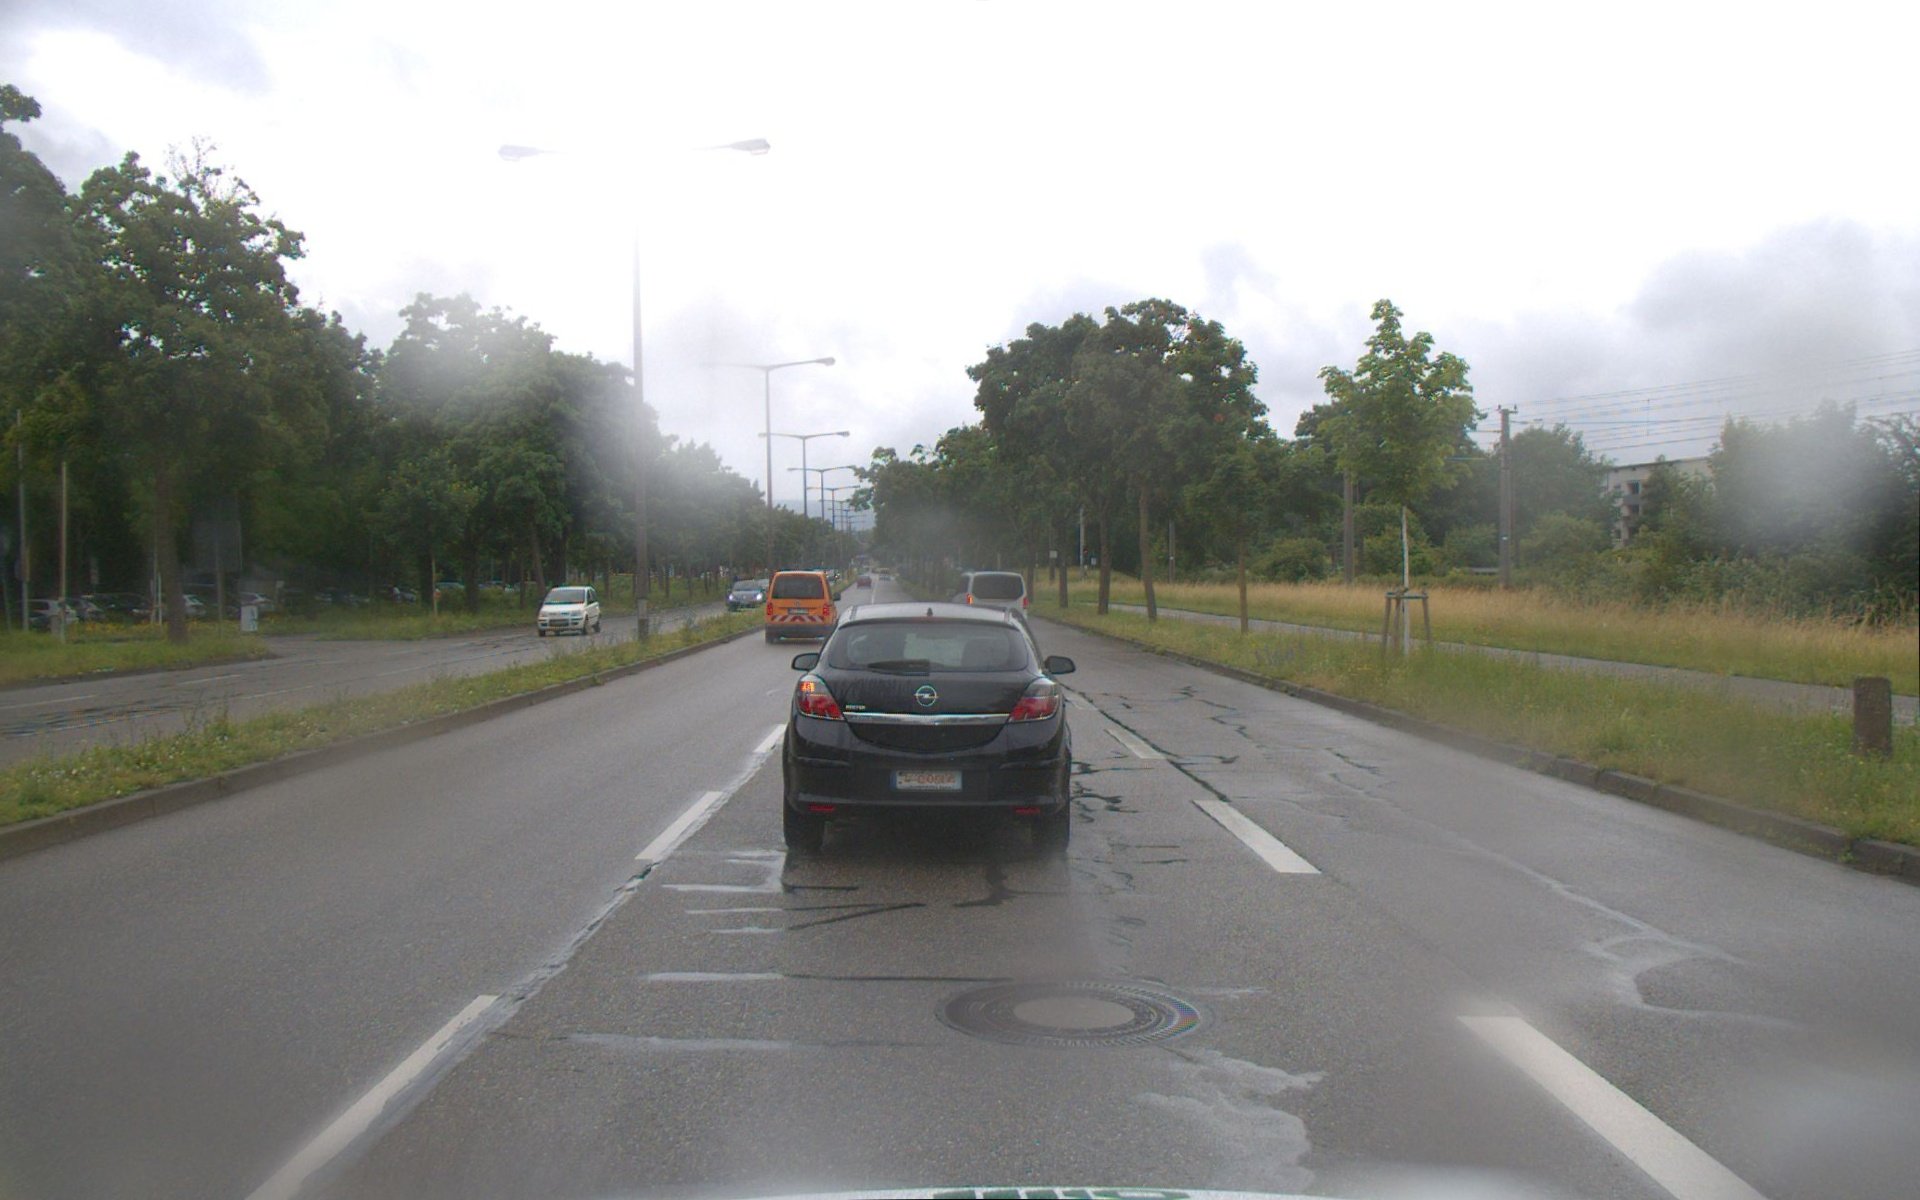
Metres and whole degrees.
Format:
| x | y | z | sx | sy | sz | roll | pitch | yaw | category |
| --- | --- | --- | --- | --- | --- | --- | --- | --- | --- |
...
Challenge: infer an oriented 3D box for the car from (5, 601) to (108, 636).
| x | y | z | sx | sy | sz | roll | pitch | yaw | category |
| --- | --- | --- | --- | --- | --- | --- | --- | --- | --- |
| -40.905 | 0.846 | 74.945 | 3.762 | 1.477 | 1.523 | -1 | 1 | -7 | car |

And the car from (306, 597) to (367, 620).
| x | y | z | sx | sy | sz | roll | pitch | yaw | category |
| --- | --- | --- | --- | --- | --- | --- | --- | --- | --- |
| -43.294 | 0.567 | 114.906 | 3.774 | 1.477 | 1.518 | -1 | 1 | -17 | car |

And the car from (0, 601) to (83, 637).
| x | y | z | sx | sy | sz | roll | pitch | yaw | category |
| --- | --- | --- | --- | --- | --- | --- | --- | --- | --- |
| -40.626 | 0.826 | 72.276 | 3.762 | 1.477 | 1.523 | -1 | 1 | -7 | car |

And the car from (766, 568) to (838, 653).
| x | y | z | sx | sy | sz | roll | pitch | yaw | category |
| --- | --- | --- | --- | --- | --- | --- | --- | --- | --- |
| -4.093 | 0.251 | 43.439 | 1.700 | 2.054 | 4.845 | 2 | 0 | -4 | car |

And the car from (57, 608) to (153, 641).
| x | y | z | sx | sy | sz | roll | pitch | yaw | category |
| --- | --- | --- | --- | --- | --- | --- | --- | --- | --- |
| -41.235 | 1.166 | 79.829 | 3.762 | 1.477 | 1.523 | -1 | 1 | -7 | car |

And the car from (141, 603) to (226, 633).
| x | y | z | sx | sy | sz | roll | pitch | yaw | category |
| --- | --- | --- | --- | --- | --- | --- | --- | --- | --- |
| -41.184 | 0.963 | 87.765 | 3.762 | 1.477 | 1.523 | -1 | 1 | -7 | car |

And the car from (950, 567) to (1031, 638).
| x | y | z | sx | sy | sz | roll | pitch | yaw | category |
| --- | --- | --- | --- | --- | --- | --- | --- | --- | --- |
| 0.860 | 0.074 | 49.510 | 2.018 | 2.009 | 4.604 | 0 | 0 | -4 | car |

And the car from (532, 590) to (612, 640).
| x | y | z | sx | sy | sz | roll | pitch | yaw | category |
| --- | --- | --- | --- | --- | --- | --- | --- | --- | --- |
| -12.848 | 0.486 | 54.970 | 1.648 | 1.581 | 4.000 | 1 | 0 | 0 | car |

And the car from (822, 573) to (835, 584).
| x | y | z | sx | sy | sz | roll | pitch | yaw | category |
| --- | --- | --- | --- | --- | --- | --- | --- | --- | --- |
| -19.373 | -3.209 | 244.388 | 1.685 | 1.556 | 3.808 | -1 | 0 | -1 | car |

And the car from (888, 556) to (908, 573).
| x | y | z | sx | sy | sz | roll | pitch | yaw | category |
| --- | --- | --- | --- | --- | --- | --- | --- | --- | --- |
| -8.357 | -4.807 | 223.150 | 2.465 | 2.088 | 5.291 | 2 | 1 | -2 | car |

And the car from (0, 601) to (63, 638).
| x | y | z | sx | sy | sz | roll | pitch | yaw | category |
| --- | --- | --- | --- | --- | --- | --- | --- | --- | --- |
| -40.235 | 0.840 | 69.848 | 3.762 | 1.477 | 1.523 | -1 | 1 | -7 | car |

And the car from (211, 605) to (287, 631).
| x | y | z | sx | sy | sz | roll | pitch | yaw | category |
| --- | --- | --- | --- | --- | --- | --- | --- | --- | --- |
| -41.910 | 1.058 | 97.539 | 3.762 | 1.477 | 1.523 | -1 | 1 | -7 | car |

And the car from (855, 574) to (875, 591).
| x | y | z | sx | sy | sz | roll | pitch | yaw | category |
| --- | --- | --- | --- | --- | --- | --- | --- | --- | --- |
| -11.017 | -1.989 | 192.170 | 1.952 | 1.912 | 4.001 | 0 | 0 | 1 | car |

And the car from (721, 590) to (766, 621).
| x | y | z | sx | sy | sz | roll | pitch | yaw | category |
| --- | --- | --- | --- | --- | --- | --- | --- | --- | --- |
| -10.860 | 0.270 | 83.136 | 1.790 | 1.475 | 3.808 | -1 | 0 | -1 | car |

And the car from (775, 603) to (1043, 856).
| x | y | z | sx | sy | sz | roll | pitch | yaw | category |
| --- | --- | --- | --- | --- | --- | --- | --- | --- | --- |
| -0.237 | 0.708 | 10.760 | 1.433 | 1.352 | 3.758 | 0 | 0 | 1 | car |

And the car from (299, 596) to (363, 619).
| x | y | z | sx | sy | sz | roll | pitch | yaw | category |
| --- | --- | --- | --- | --- | --- | --- | --- | --- | --- |
| -41.729 | 0.497 | 109.800 | 3.774 | 1.477 | 1.518 | -1 | 1 | -17 | car |
